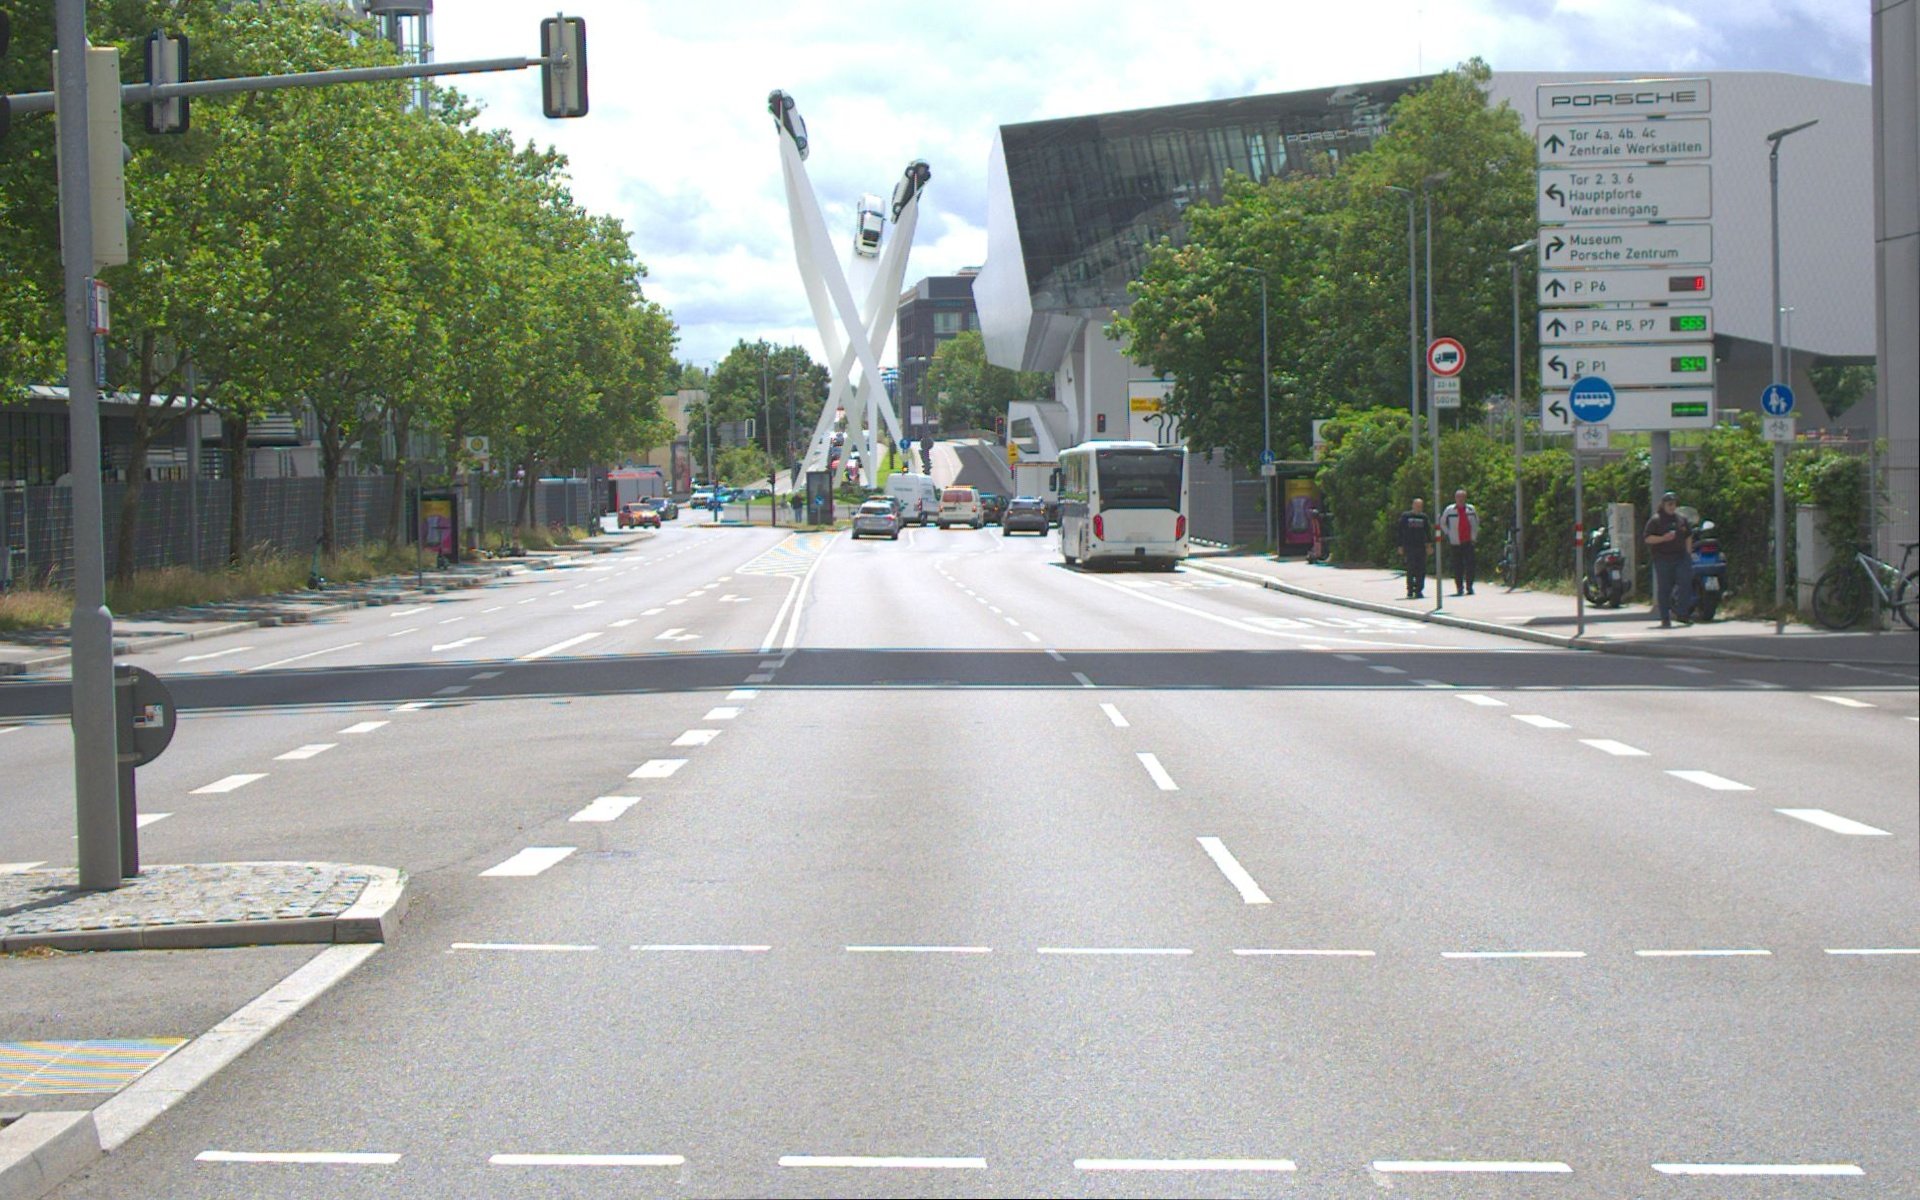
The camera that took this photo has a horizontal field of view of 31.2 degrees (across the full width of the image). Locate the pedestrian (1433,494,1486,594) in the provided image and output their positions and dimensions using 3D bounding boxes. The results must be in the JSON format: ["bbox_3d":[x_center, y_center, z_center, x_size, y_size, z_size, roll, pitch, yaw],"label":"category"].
[{"bbox_3d":[8.659,-0.976,59.640,0.820,1.735,0.637,0,1,-1],"label":"pedestrian"}]

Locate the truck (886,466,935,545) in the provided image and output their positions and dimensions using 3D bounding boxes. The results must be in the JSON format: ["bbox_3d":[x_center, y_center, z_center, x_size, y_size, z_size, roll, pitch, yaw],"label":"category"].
[{"bbox_3d":[-2.483,-4.723,172.574,2.392,3.884,6.177,0,1,-1],"label":"truck"}]

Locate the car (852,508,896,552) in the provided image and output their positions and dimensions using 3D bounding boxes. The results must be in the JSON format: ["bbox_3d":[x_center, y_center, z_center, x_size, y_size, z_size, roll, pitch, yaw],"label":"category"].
[{"bbox_3d":[-3.442,-2.804,137.944,1.738,1.735,3.691,0,1,-1],"label":"car"}]

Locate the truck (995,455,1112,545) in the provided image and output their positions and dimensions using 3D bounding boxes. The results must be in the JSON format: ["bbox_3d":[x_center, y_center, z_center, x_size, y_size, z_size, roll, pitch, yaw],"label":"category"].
[{"bbox_3d":[4.733,-4.980,171.937,3.455,4.376,9.413,0,1,17],"label":"truck"}]

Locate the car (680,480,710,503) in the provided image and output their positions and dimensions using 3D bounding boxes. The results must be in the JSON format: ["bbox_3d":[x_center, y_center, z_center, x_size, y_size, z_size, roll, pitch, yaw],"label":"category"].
[{"bbox_3d":[-18.537,-7.582,240.999,1.818,1.532,3.679,-2,1,-1],"label":"car"}]

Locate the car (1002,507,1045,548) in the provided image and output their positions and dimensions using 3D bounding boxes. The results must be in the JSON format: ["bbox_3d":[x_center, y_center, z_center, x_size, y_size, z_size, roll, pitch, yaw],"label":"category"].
[{"bbox_3d":[2.683,-3.089,146.156,1.738,1.735,3.691,0,1,-1],"label":"car"}]

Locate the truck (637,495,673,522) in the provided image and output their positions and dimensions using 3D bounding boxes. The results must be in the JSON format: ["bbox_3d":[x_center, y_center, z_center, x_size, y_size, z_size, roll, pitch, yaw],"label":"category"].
[{"bbox_3d":[-17.392,-5.220,195.831,1.583,1.532,3.680,0,1,-13],"label":"truck"}]

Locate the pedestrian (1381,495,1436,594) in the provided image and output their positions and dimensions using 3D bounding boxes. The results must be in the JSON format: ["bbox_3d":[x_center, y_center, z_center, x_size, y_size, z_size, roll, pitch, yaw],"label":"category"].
[{"bbox_3d":[7.769,-0.964,59.579,0.820,1.701,0.881,0,1,-1],"label":"pedestrian"}]

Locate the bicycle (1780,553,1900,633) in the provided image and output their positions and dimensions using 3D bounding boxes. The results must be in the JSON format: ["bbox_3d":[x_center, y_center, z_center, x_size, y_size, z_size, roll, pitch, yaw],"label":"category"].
[{"bbox_3d":[10.595,-0.095,41.461,0.397,0.933,1.929,0,1,-19],"label":"bicycle"}]

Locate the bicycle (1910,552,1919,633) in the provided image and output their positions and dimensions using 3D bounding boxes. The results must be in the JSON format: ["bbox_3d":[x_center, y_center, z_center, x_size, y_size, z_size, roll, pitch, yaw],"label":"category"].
[{"bbox_3d":[11.644,-0.072,39.174,0.397,0.933,1.929,-1,1,-26],"label":"bicycle"}]

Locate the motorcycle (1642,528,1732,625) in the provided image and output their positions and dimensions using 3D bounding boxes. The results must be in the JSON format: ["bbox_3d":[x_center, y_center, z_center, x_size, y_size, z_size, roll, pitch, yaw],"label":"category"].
[{"bbox_3d":[9.587,-0.320,45.380,0.706,1.199,2.024,-2,2,-1],"label":"motorcycle"}]

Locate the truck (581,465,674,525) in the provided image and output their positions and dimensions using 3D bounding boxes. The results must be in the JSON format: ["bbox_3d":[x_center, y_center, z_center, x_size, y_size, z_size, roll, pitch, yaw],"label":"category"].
[{"bbox_3d":[-22.728,-7.131,235.256,2.482,3.880,7.066,1,0,33],"label":"truck"}]

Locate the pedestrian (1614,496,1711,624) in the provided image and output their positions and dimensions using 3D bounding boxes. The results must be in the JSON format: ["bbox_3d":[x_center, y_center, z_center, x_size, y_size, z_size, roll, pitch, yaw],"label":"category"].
[{"bbox_3d":[8.981,-0.516,43.935,0.849,1.619,0.954,1,1,41],"label":"pedestrian"}]

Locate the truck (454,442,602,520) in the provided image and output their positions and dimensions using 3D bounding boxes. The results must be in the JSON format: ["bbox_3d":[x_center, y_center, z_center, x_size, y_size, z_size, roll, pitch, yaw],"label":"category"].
[{"bbox_3d":[-26.605,-7.296,212.496,3.567,4.309,12.153,1,0,22],"label":"truck"}]

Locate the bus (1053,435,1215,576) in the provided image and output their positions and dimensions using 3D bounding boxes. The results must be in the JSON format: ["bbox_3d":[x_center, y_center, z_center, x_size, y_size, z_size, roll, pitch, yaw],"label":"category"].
[{"bbox_3d":[4.511,-2.491,91.558,3.452,3.531,10.607,0,1,-2],"label":"bus"}]

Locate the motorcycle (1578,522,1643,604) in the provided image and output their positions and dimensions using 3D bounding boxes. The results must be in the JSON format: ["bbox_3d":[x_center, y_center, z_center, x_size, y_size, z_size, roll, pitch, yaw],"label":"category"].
[{"bbox_3d":[10.064,-0.588,53.237,0.574,1.199,2.024,-2,2,-1],"label":"motorcycle"}]

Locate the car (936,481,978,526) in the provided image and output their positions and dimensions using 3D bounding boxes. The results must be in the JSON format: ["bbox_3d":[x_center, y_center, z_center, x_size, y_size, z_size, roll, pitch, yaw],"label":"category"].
[{"bbox_3d":[-0.146,-4.619,165.333,1.993,2.007,4.000,1,0,0],"label":"car"}]
